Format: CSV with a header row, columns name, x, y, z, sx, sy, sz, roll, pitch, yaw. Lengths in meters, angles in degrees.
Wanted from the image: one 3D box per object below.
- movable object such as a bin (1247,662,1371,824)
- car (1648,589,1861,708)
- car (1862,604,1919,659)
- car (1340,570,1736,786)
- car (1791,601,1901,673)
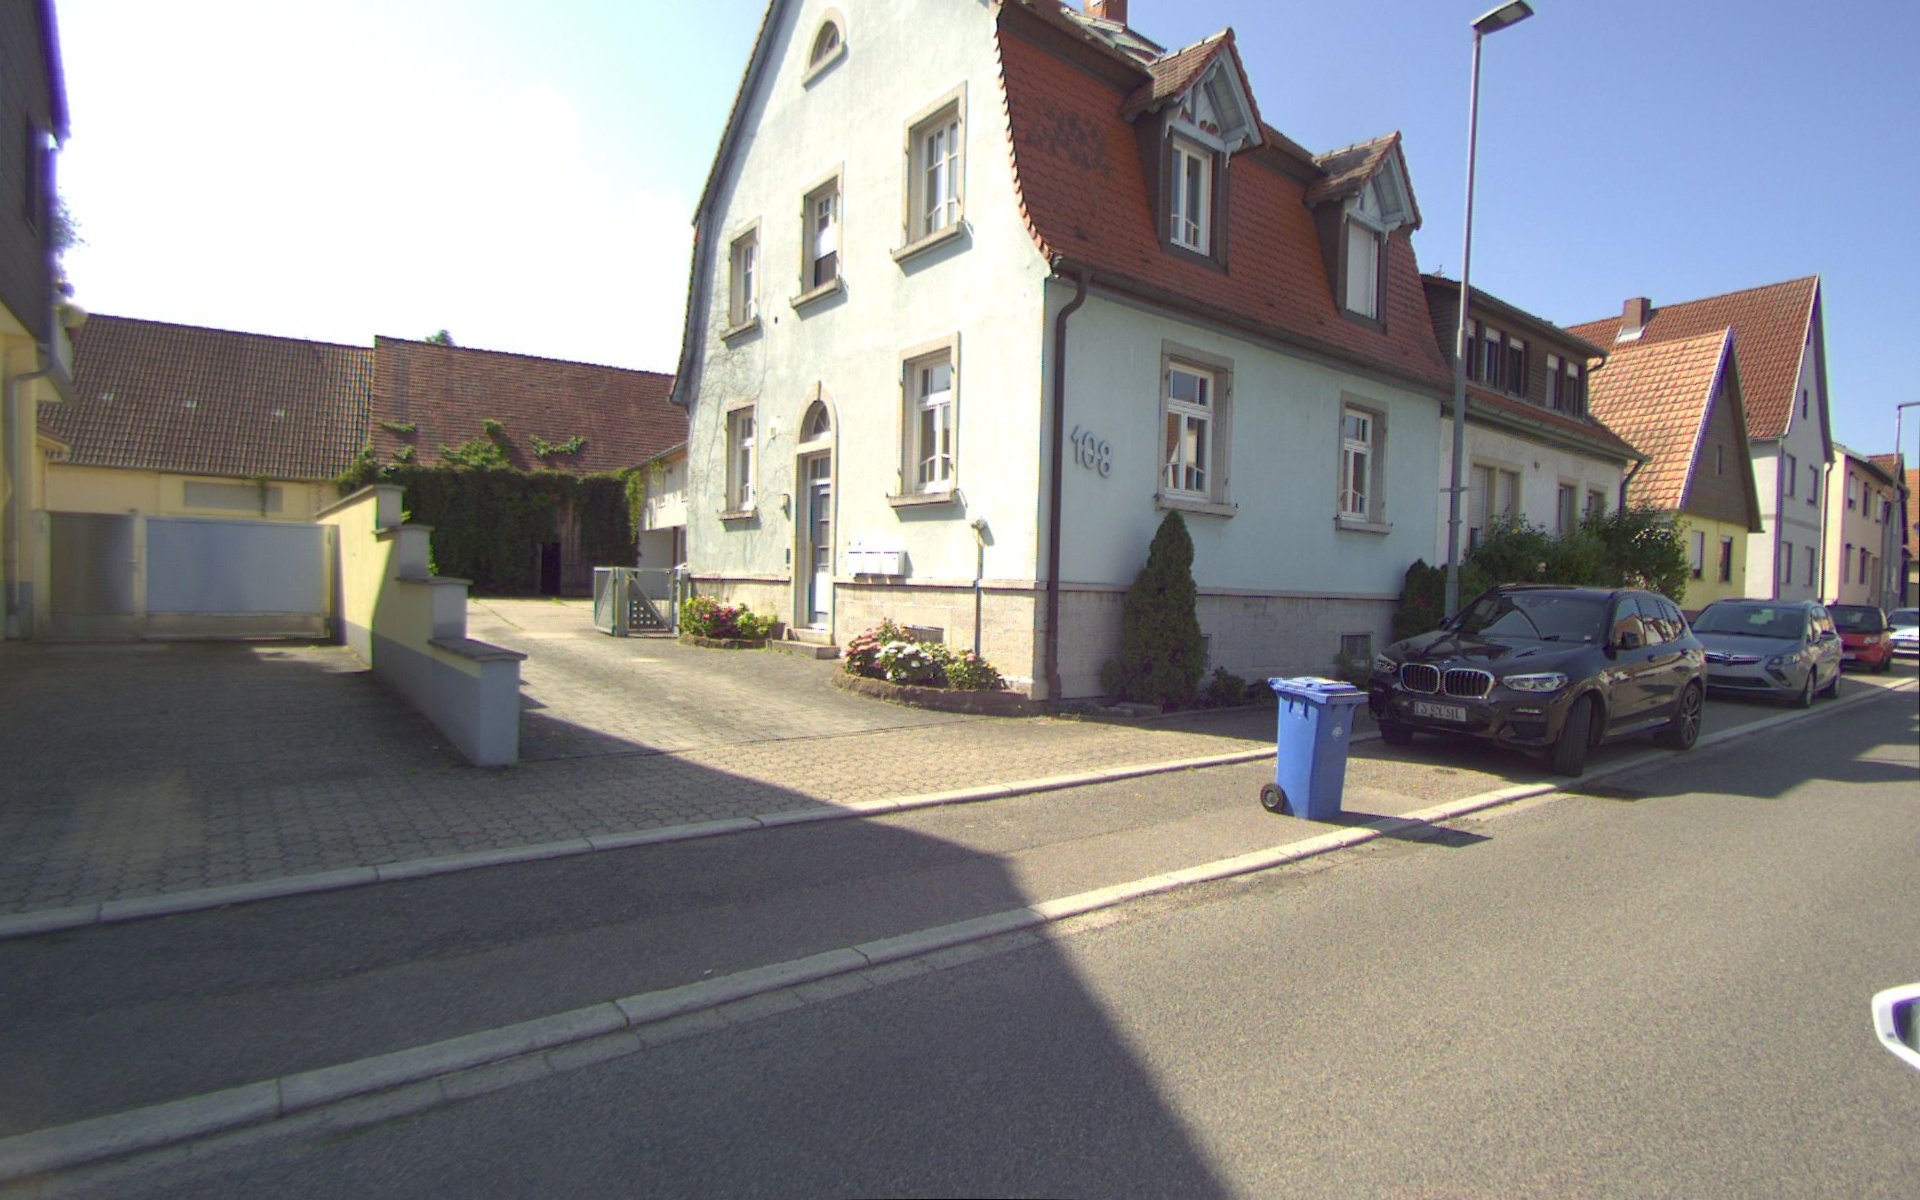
name,x,y,z,sx,sy,sz,roll,pitch,yaw
movable object such as a bin,2.429,0.965,6.997,0.526,0.995,0.591,1,2,-39
car,13.223,0.717,16.618,4.626,1.659,1.857,1,2,-40
car,29.431,0.958,30.986,4.368,1.568,1.790,1,2,-40
car,6.093,0.659,10.358,4.625,1.690,1.905,1,3,-39
car,21.529,0.859,24.381,2.963,1.565,1.539,1,2,-40
